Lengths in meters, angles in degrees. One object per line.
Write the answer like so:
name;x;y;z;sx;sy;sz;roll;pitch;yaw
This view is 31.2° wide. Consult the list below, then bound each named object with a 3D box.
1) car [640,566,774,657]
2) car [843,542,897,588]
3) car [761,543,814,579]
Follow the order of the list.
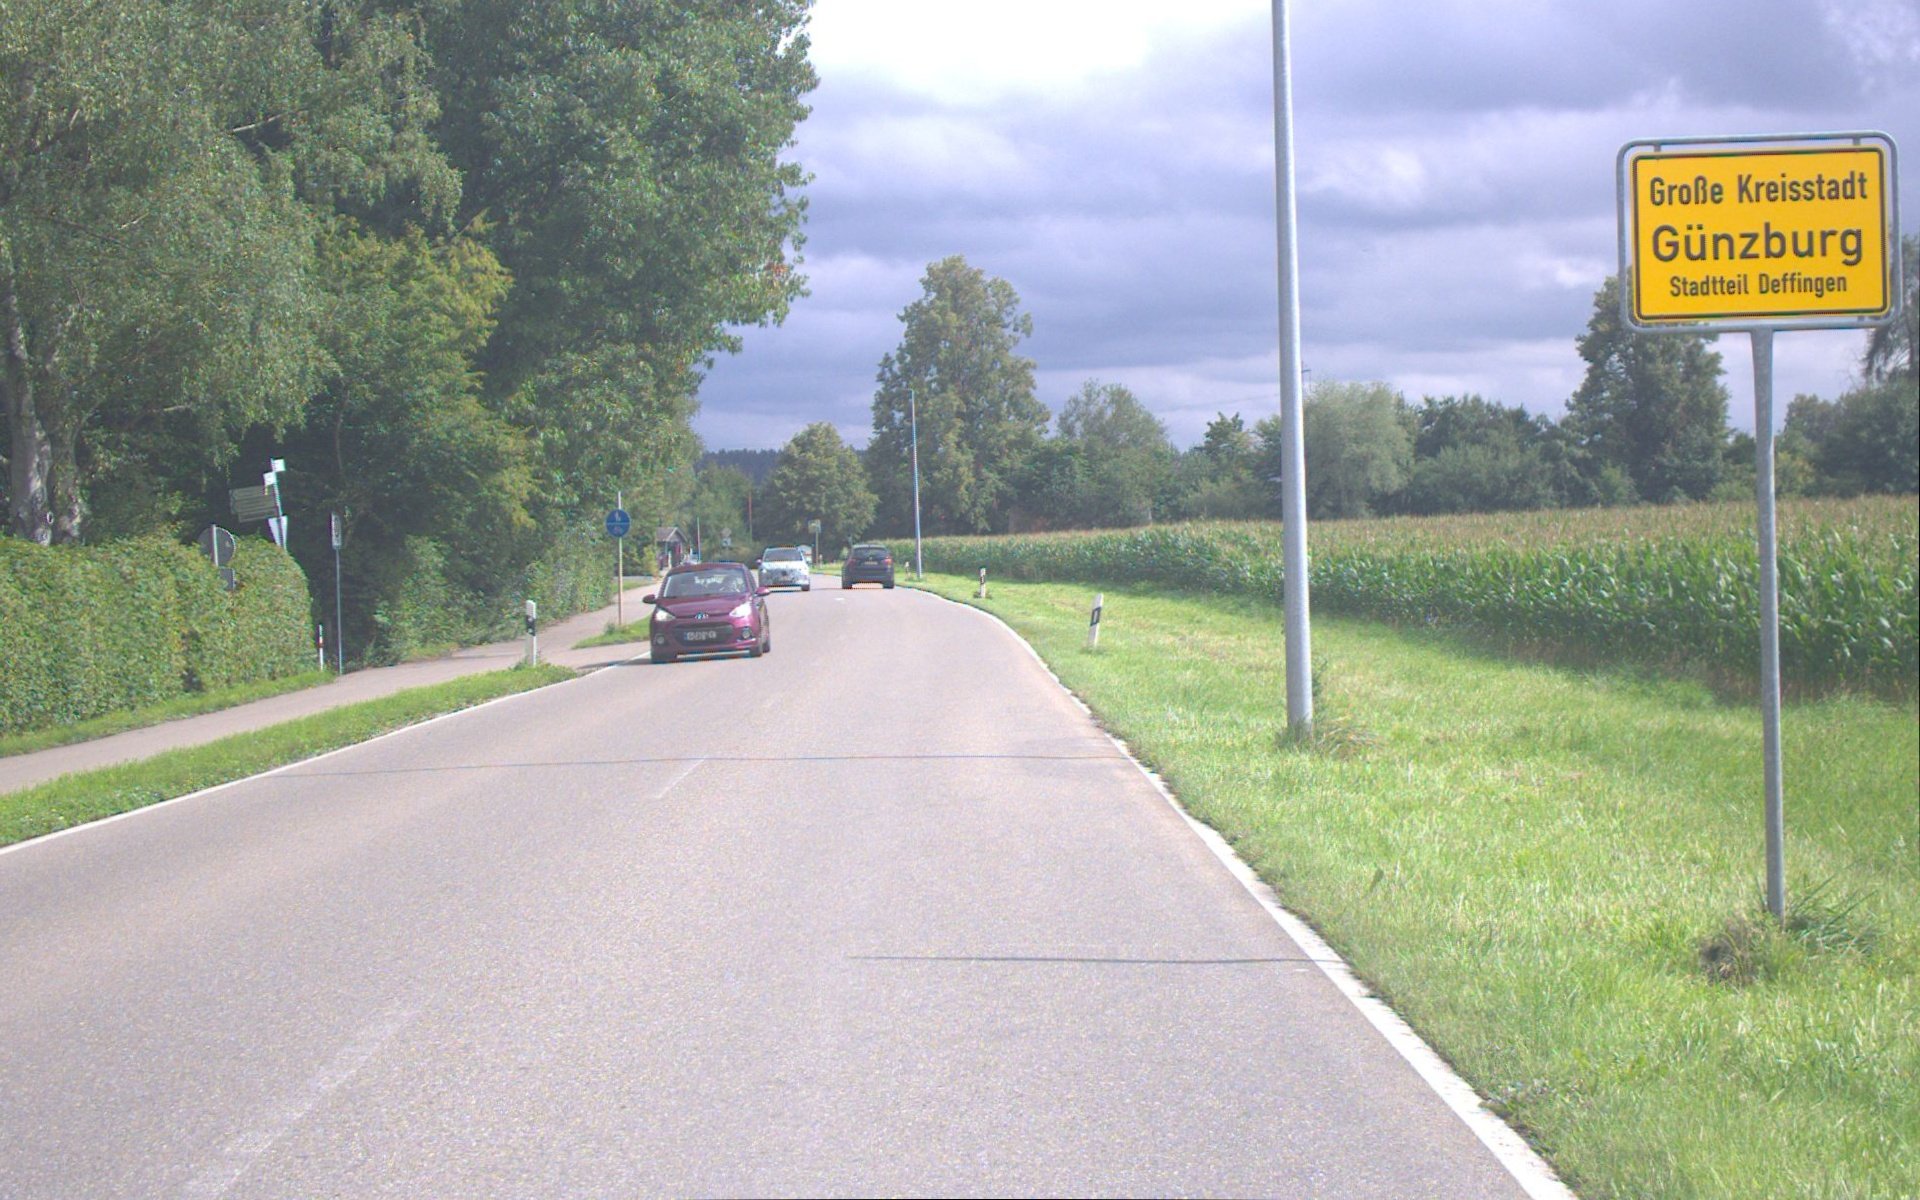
car;-3.832;0.151;52.532;1.745;1.218;3.543;-3;1;0
car;-3.420;-1.356;131.430;1.906;1.660;4.000;-3;1;-1
car;-6.413;-1.469;127.878;1.745;1.218;3.543;-3;1;0
